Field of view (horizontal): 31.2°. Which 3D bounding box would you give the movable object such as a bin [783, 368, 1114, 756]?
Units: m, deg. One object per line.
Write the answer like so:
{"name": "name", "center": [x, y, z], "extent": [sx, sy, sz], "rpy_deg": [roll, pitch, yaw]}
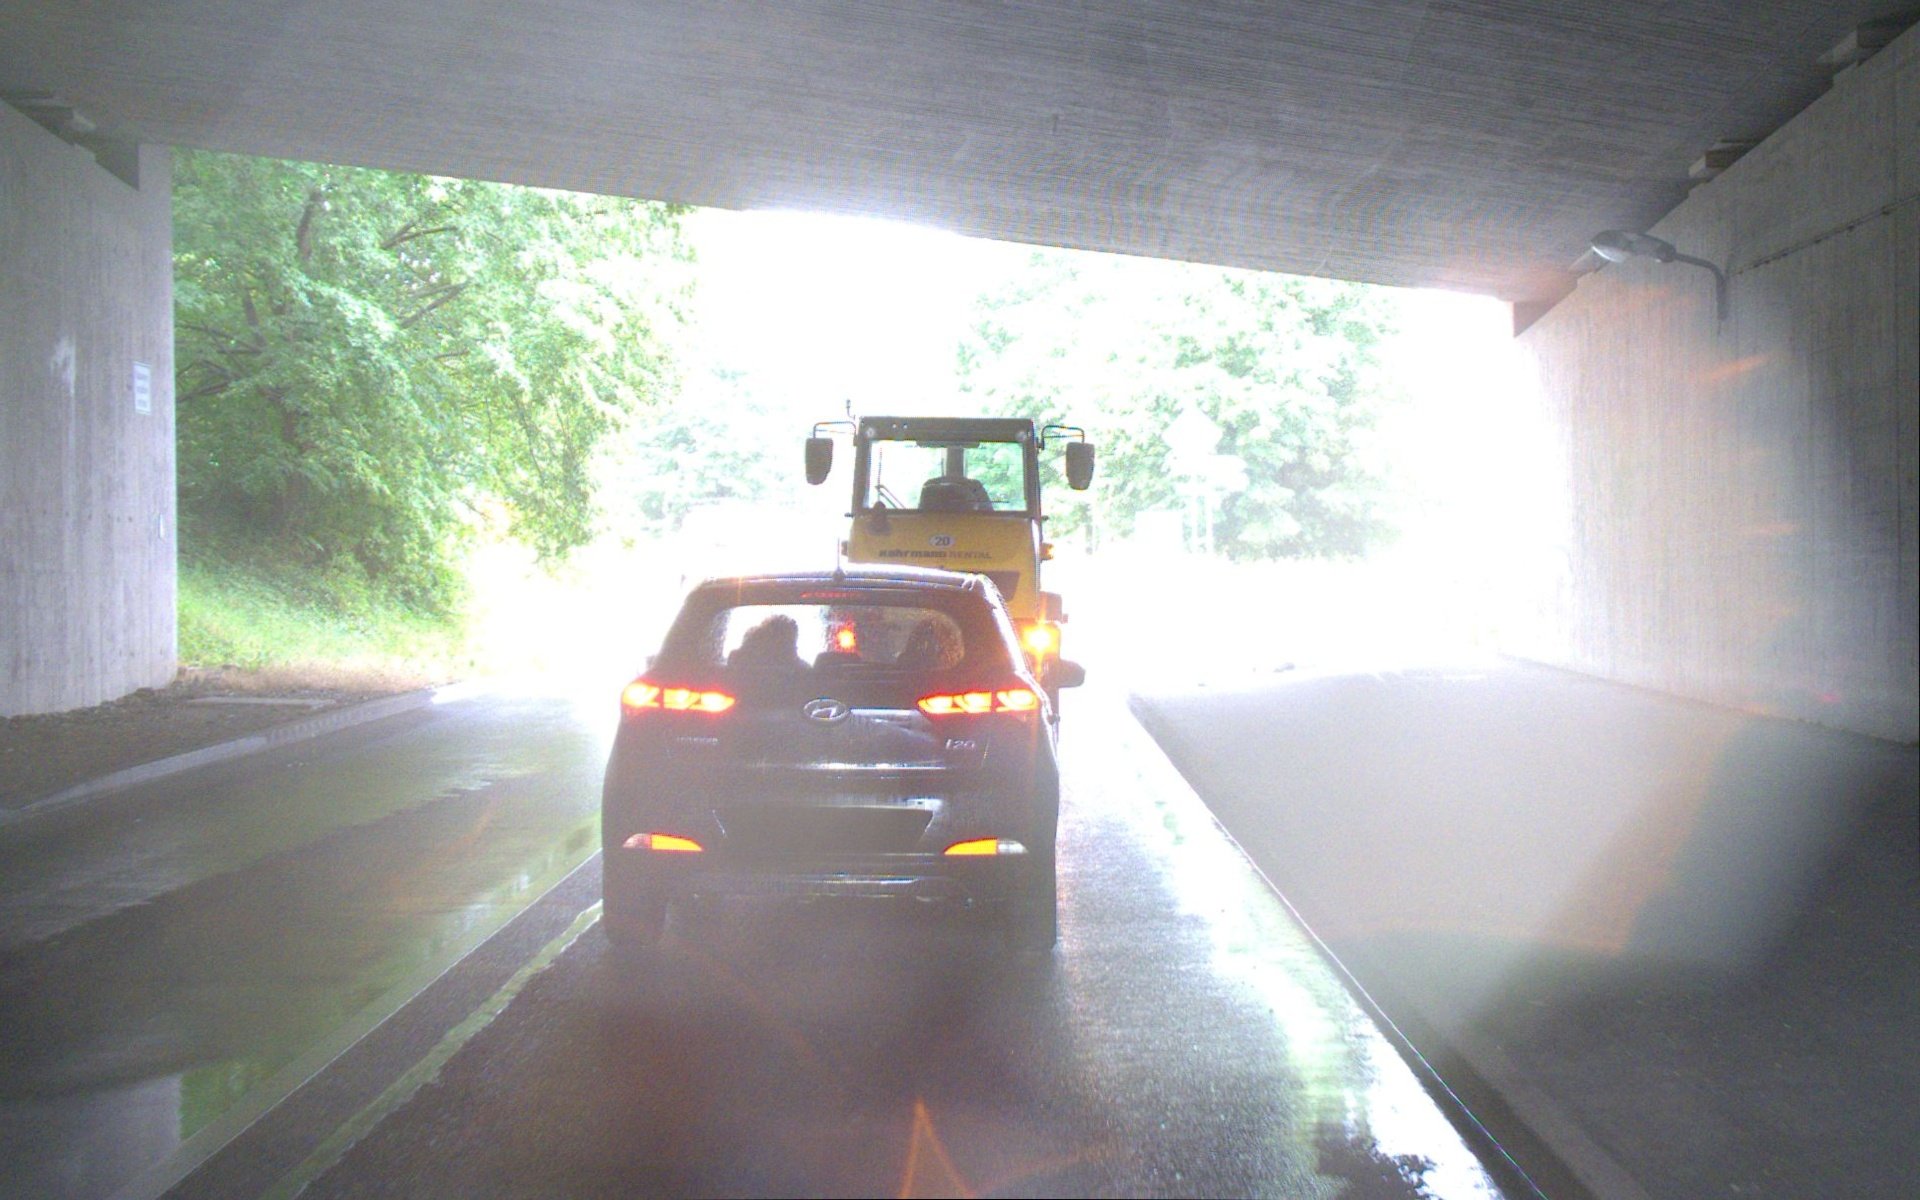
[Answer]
{"name": "movable object such as a bin", "center": [-0.115, -0.322, 27.403], "extent": [2.245, 2.660, 6.627], "rpy_deg": [2, 1, -1]}

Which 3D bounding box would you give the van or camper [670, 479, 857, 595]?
{"name": "van or camper", "center": [-3.785, -1.211, 65.426], "extent": [1.993, 2.091, 4.693], "rpy_deg": [1, 1, -24]}

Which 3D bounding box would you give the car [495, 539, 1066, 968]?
{"name": "car", "center": [-0.735, 0.516, 14.250], "extent": [1.993, 1.482, 4.001], "rpy_deg": [1, 1, -3]}
